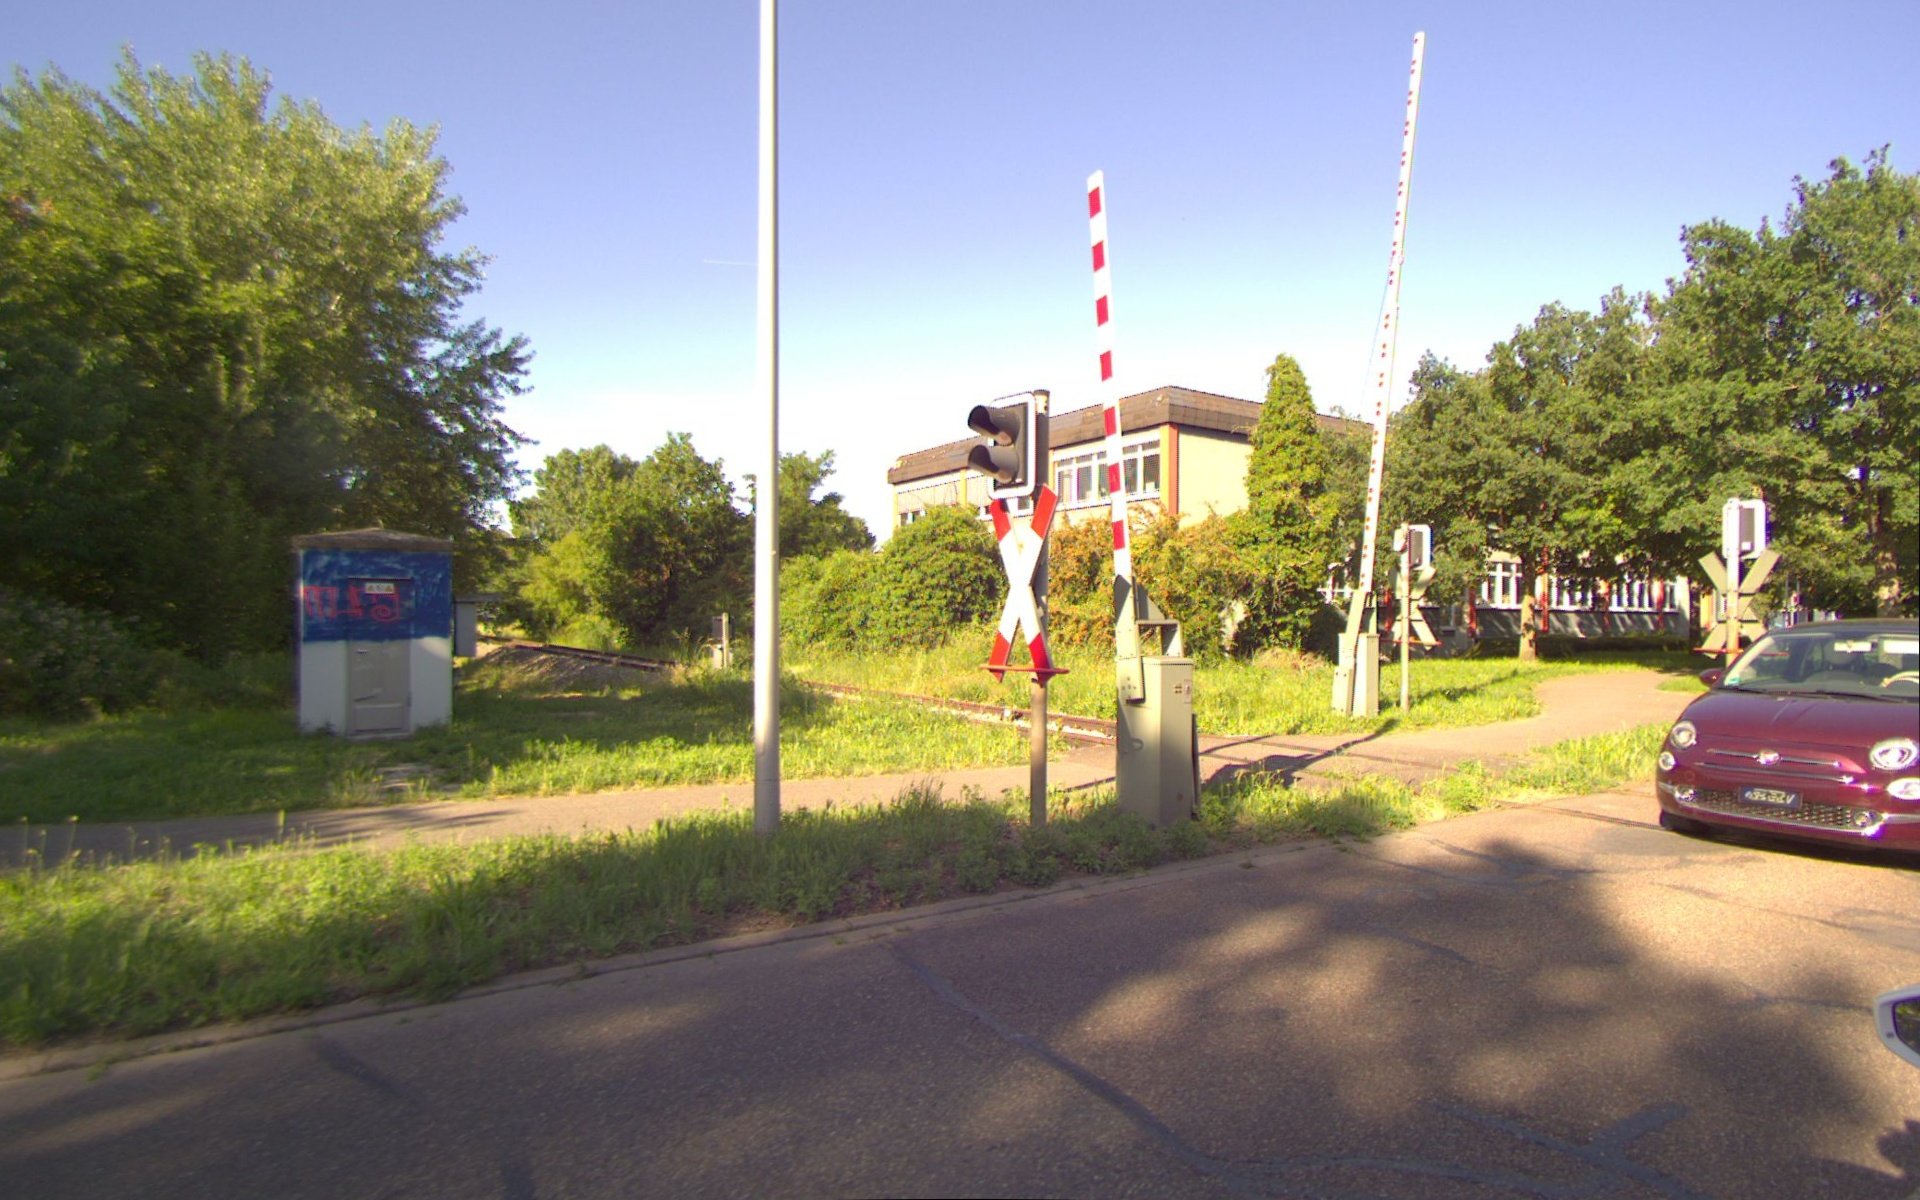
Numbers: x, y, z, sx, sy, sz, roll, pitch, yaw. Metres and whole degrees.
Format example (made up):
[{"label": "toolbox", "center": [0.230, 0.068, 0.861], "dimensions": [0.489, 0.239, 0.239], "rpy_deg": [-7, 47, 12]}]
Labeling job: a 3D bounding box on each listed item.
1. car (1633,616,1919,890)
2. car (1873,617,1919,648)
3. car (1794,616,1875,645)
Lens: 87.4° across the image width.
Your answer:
[{"label": "car", "center": [6.690, 0.900, 7.234], "dimensions": [3.954, 1.524, 1.557], "rpy_deg": [1, -2, -31]}, {"label": "car", "center": [66.901, 2.296, 69.143], "dimensions": [1.984, 2.041, 5.740], "rpy_deg": [1, 1, -40]}, {"label": "car", "center": [55.161, 1.899, 63.415], "dimensions": [1.973, 1.665, 3.348], "rpy_deg": [1, 1, -25]}]
